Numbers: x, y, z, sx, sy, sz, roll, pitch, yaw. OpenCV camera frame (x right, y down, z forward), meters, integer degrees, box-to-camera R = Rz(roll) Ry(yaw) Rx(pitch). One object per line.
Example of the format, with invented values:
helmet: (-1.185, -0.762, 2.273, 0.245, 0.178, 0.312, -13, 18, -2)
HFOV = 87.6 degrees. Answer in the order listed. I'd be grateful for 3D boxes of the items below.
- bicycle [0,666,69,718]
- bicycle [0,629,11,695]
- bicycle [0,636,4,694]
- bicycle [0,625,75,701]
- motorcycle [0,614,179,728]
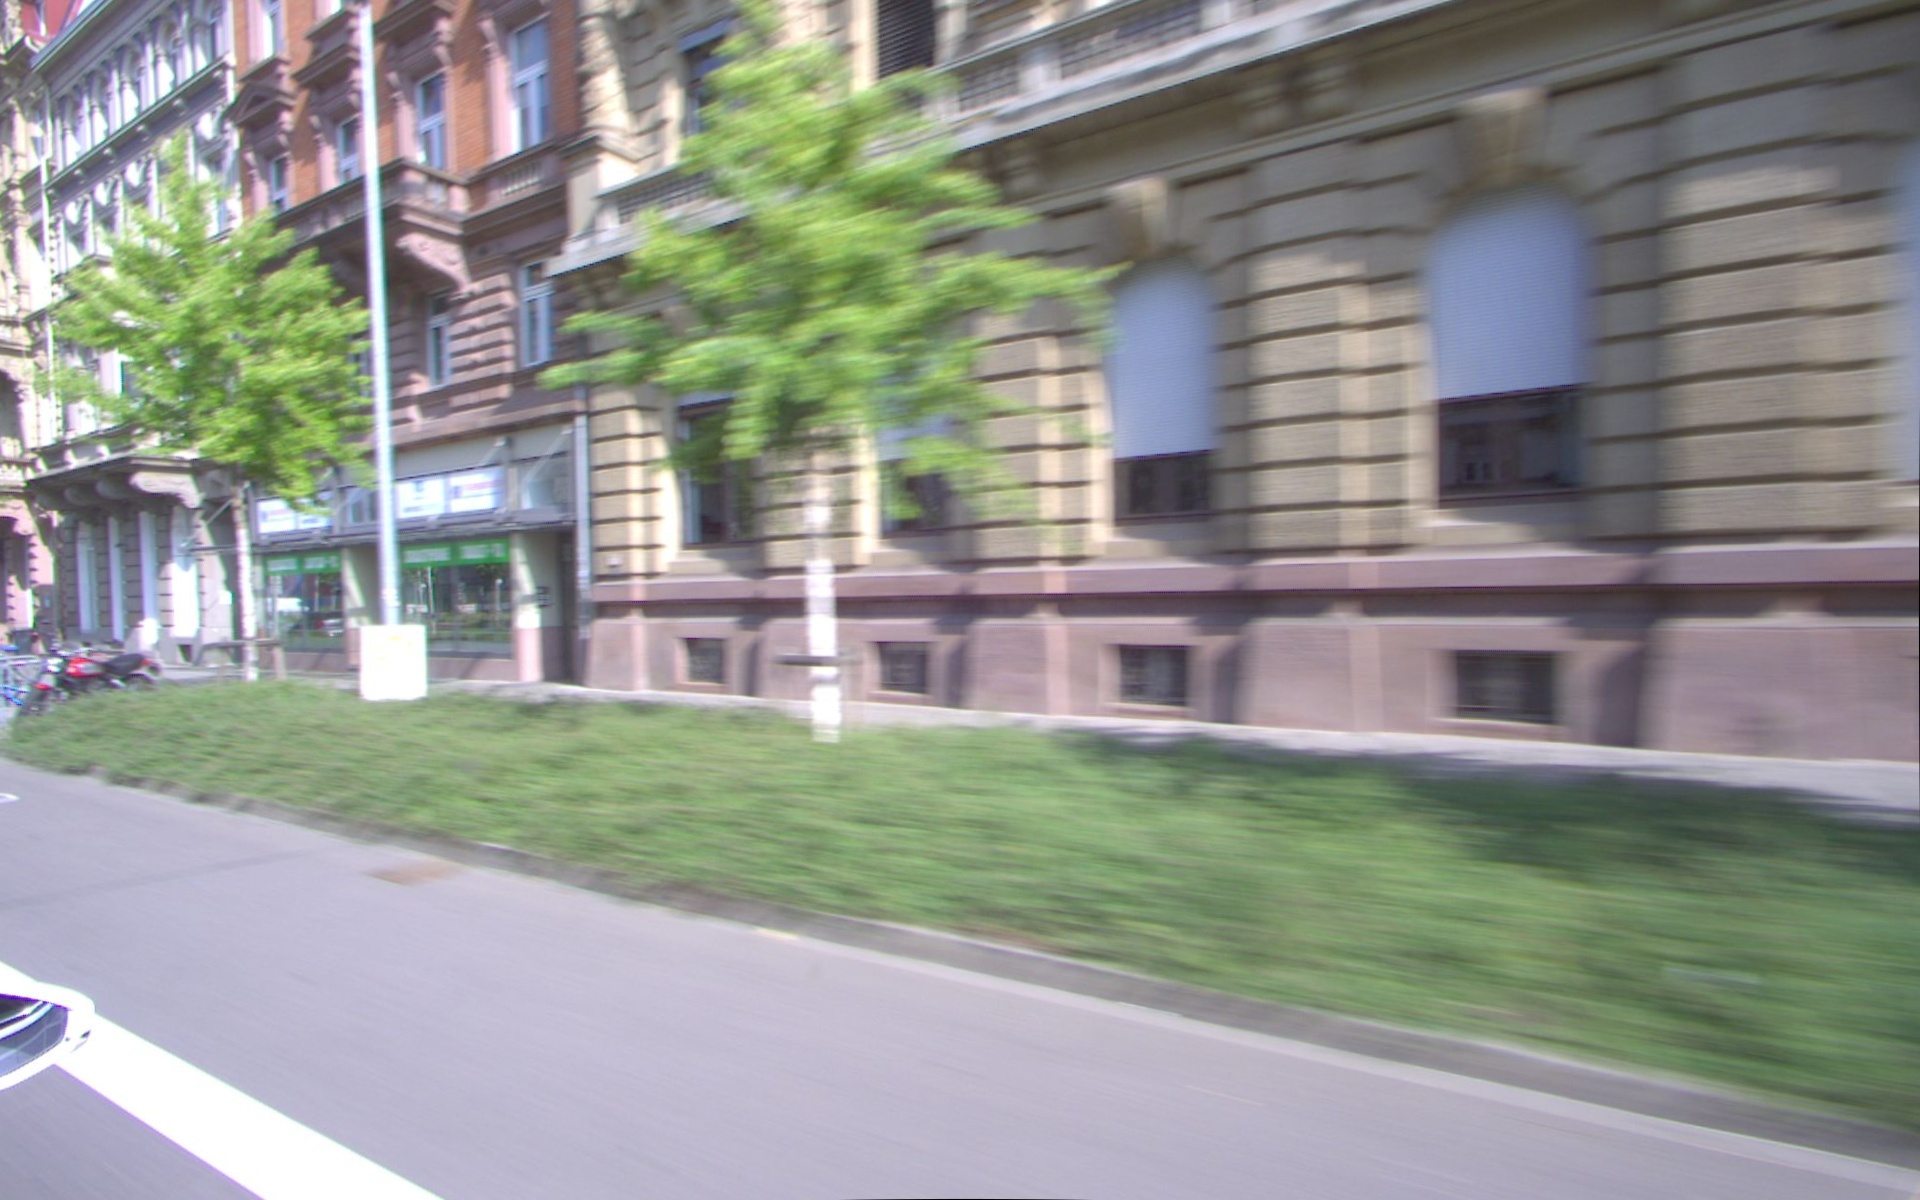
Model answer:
bicycle: (-12.949, 1.268, 13.767, 0.355, 0.618, 0.955, 0, 2, 33)
bicycle: (-16.256, 1.057, 15.808, 0.367, 1.068, 1.780, 0, 3, 31)
bicycle: (-16.585, 1.063, 16.023, 0.367, 1.068, 1.780, 0, 3, 31)
bicycle: (-15.073, 1.008, 15.564, 0.661, 1.111, 1.804, 0, 2, 27)
motorcycle: (-11.621, 0.902, 13.432, 0.691, 1.305, 2.040, -1, 2, -2)
